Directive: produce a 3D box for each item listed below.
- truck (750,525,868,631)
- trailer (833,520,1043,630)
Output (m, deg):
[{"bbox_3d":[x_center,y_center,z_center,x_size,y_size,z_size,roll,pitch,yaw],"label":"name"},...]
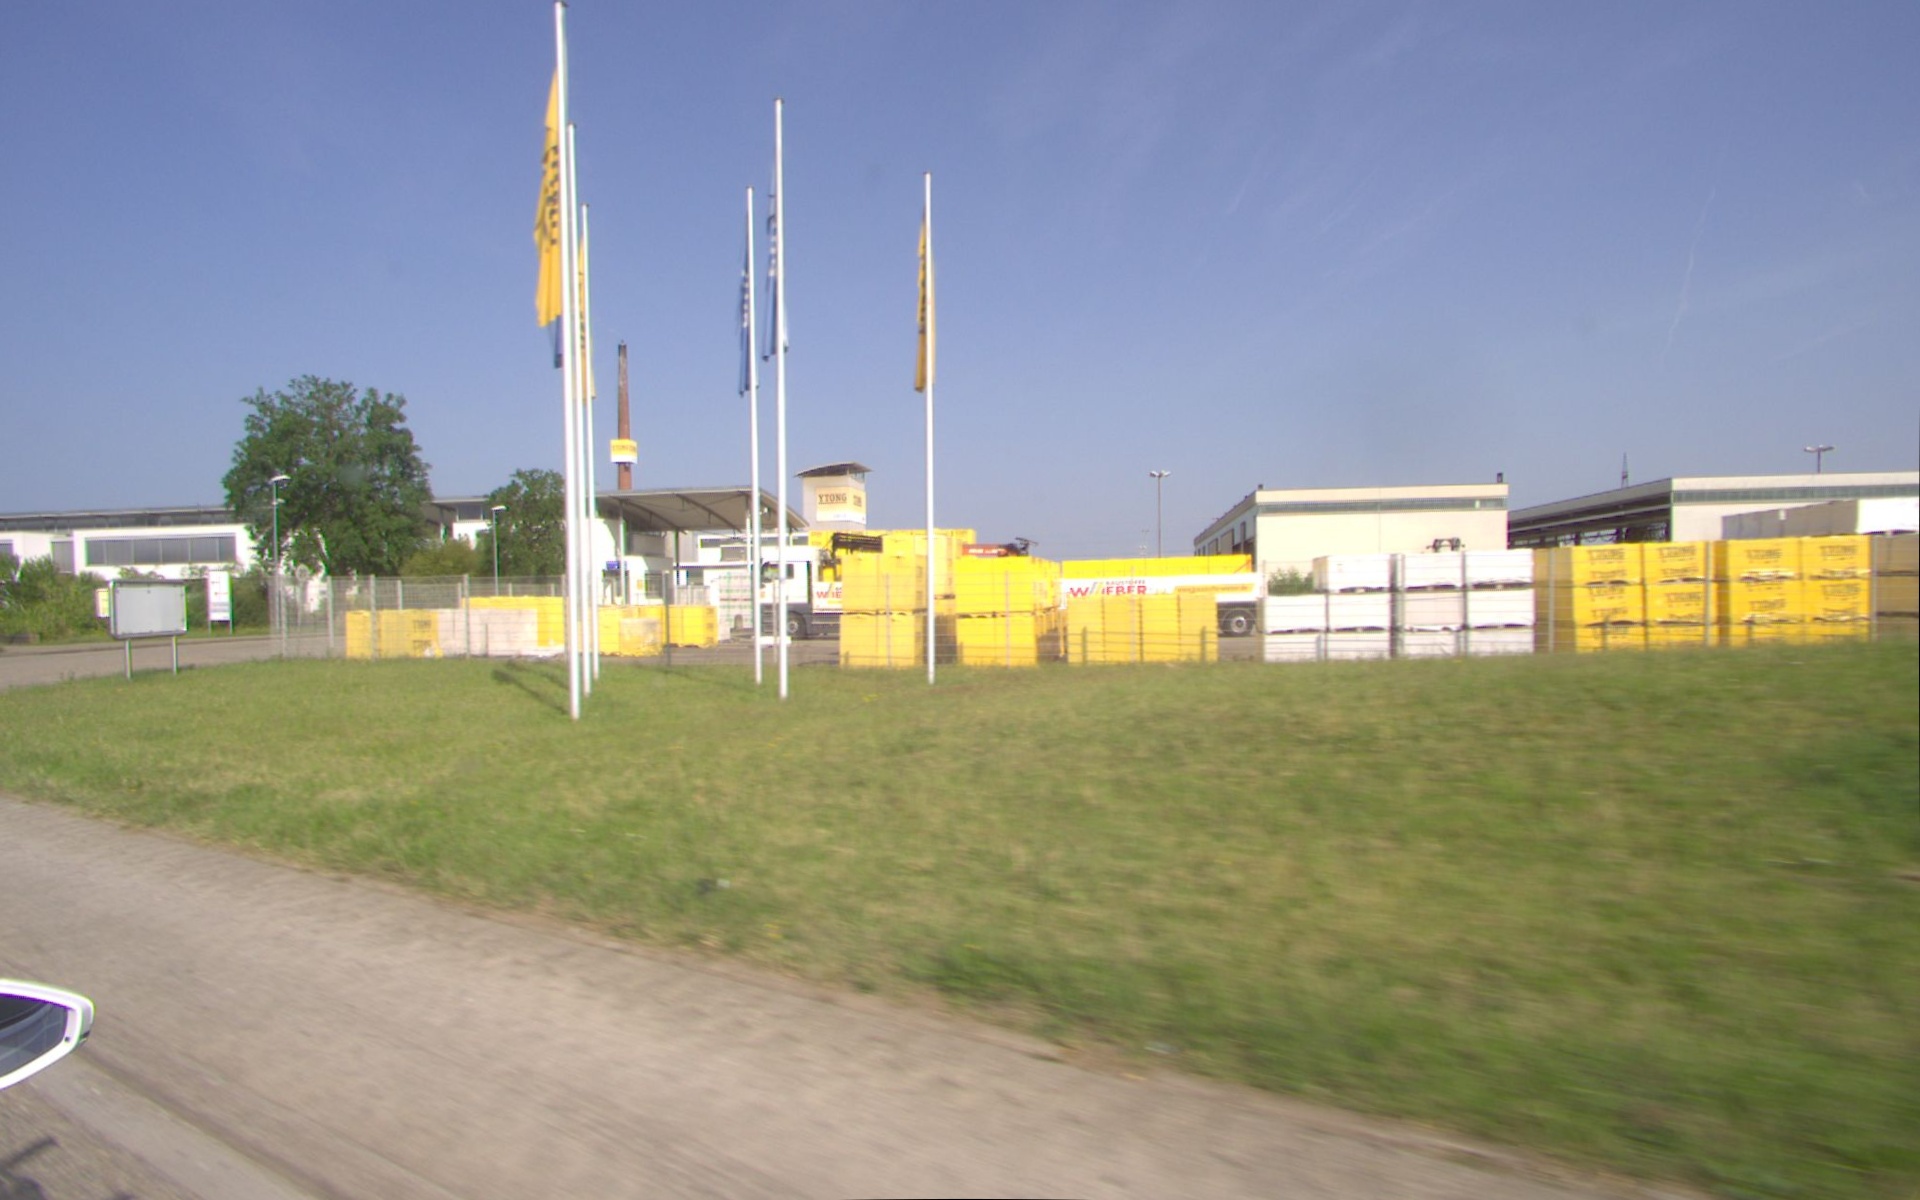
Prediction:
[{"bbox_3d":[-5.851,-0.781,39.073,3.924,3.925,2.545,-1,-1,10],"label":"truck"},{"bbox_3d":[-0.777,-0.856,38.169,7.652,3.925,2.485,-1,-1,10],"label":"trailer"}]
